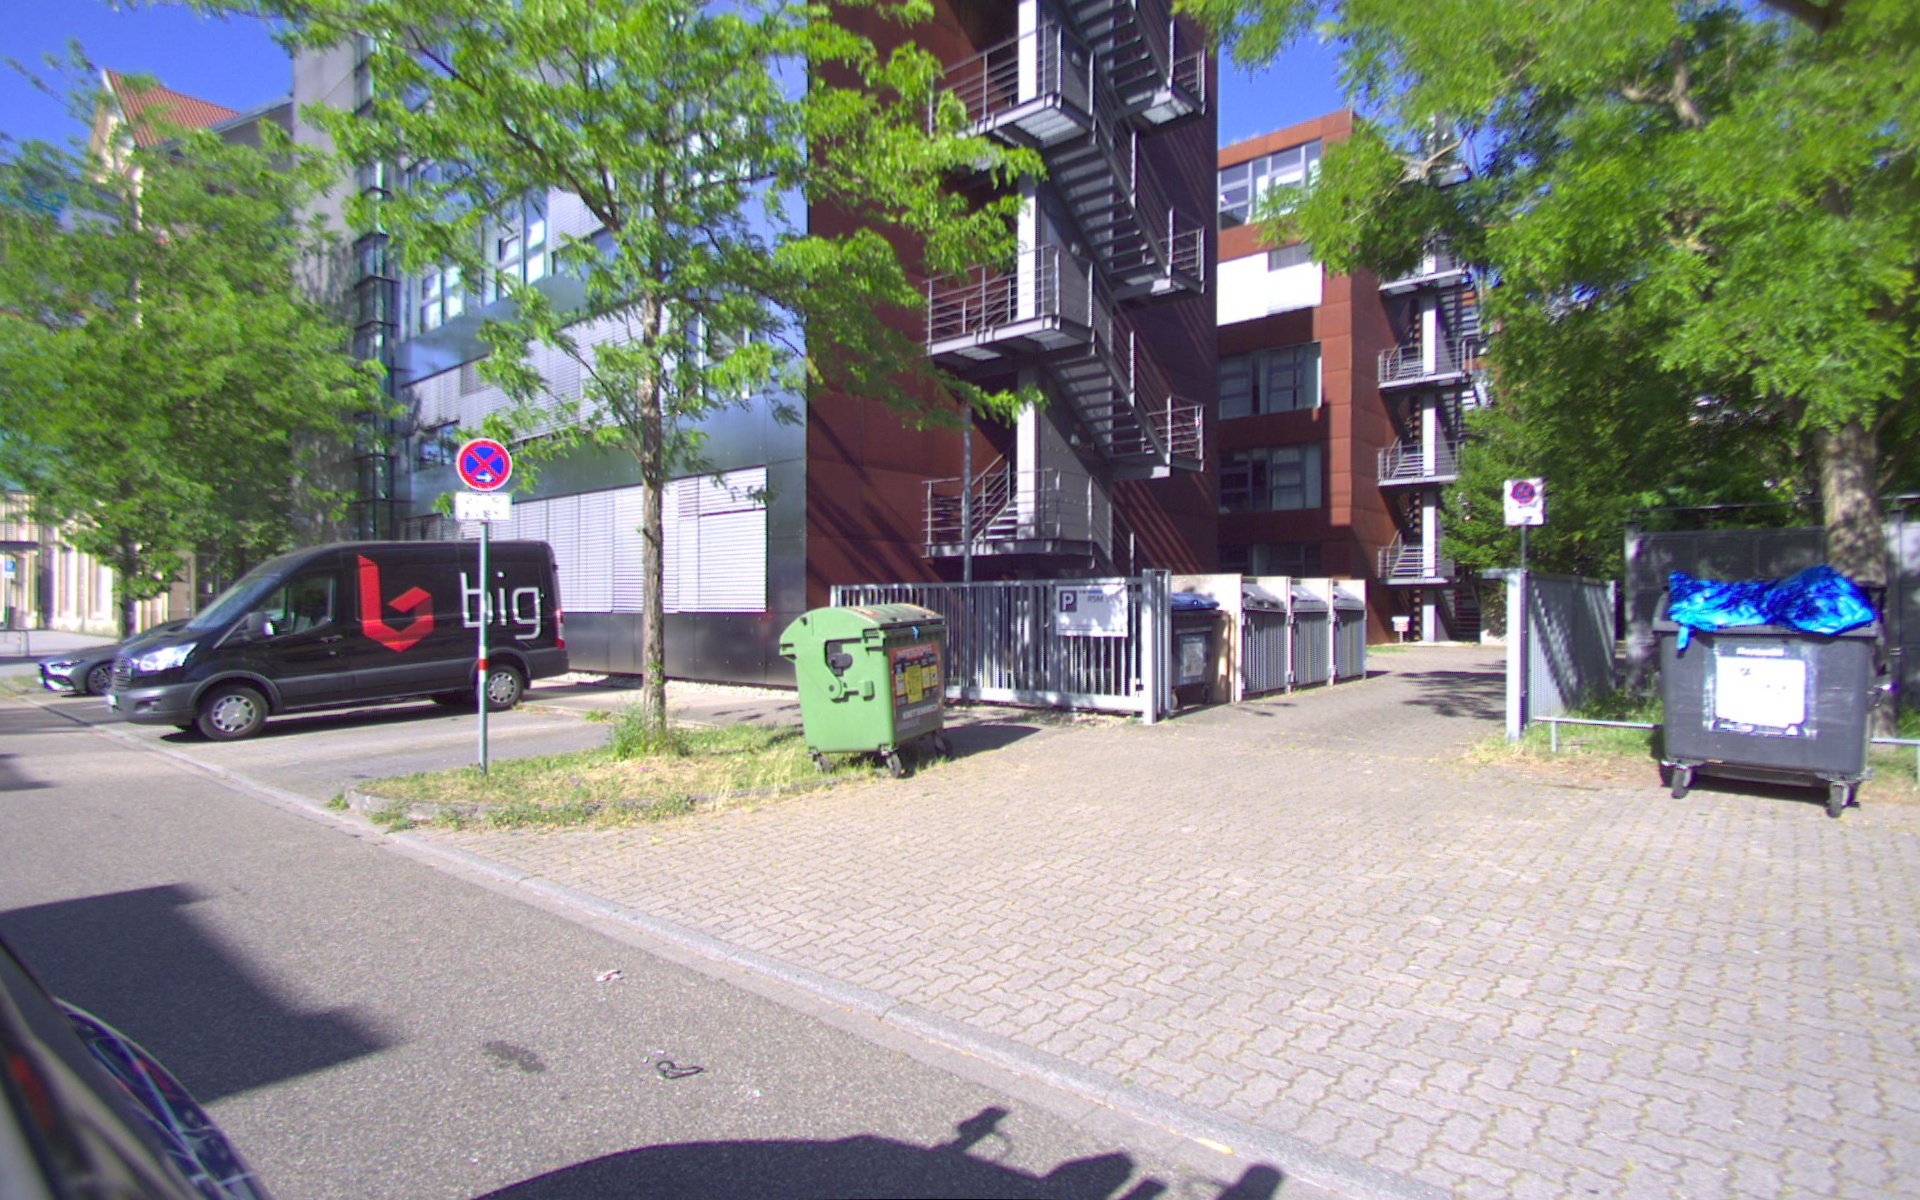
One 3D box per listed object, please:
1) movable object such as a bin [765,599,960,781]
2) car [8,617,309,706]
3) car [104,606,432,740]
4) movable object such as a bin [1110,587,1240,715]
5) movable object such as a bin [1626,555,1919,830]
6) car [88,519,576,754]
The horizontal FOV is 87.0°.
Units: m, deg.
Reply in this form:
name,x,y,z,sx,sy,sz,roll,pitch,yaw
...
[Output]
name,x,y,z,sx,sy,sz,roll,pitch,yaw
movable object such as a bin,-0.815,0.717,8.780,1.220,1.424,1.287,-1,-1,23
car,-16.090,1.148,20.532,1.891,1.360,4.489,-1,2,40
car,-10.580,0.995,15.689,1.890,1.657,3.794,-1,2,39
movable object such as a bin,2.718,0.606,12.720,1.011,1.497,1.465,0,-1,41
movable object such as a bin,5.710,0.514,7.067,1.523,1.608,1.398,2,5,44
car,-8.483,0.416,14.180,2.230,2.642,5.399,-1,-1,40
